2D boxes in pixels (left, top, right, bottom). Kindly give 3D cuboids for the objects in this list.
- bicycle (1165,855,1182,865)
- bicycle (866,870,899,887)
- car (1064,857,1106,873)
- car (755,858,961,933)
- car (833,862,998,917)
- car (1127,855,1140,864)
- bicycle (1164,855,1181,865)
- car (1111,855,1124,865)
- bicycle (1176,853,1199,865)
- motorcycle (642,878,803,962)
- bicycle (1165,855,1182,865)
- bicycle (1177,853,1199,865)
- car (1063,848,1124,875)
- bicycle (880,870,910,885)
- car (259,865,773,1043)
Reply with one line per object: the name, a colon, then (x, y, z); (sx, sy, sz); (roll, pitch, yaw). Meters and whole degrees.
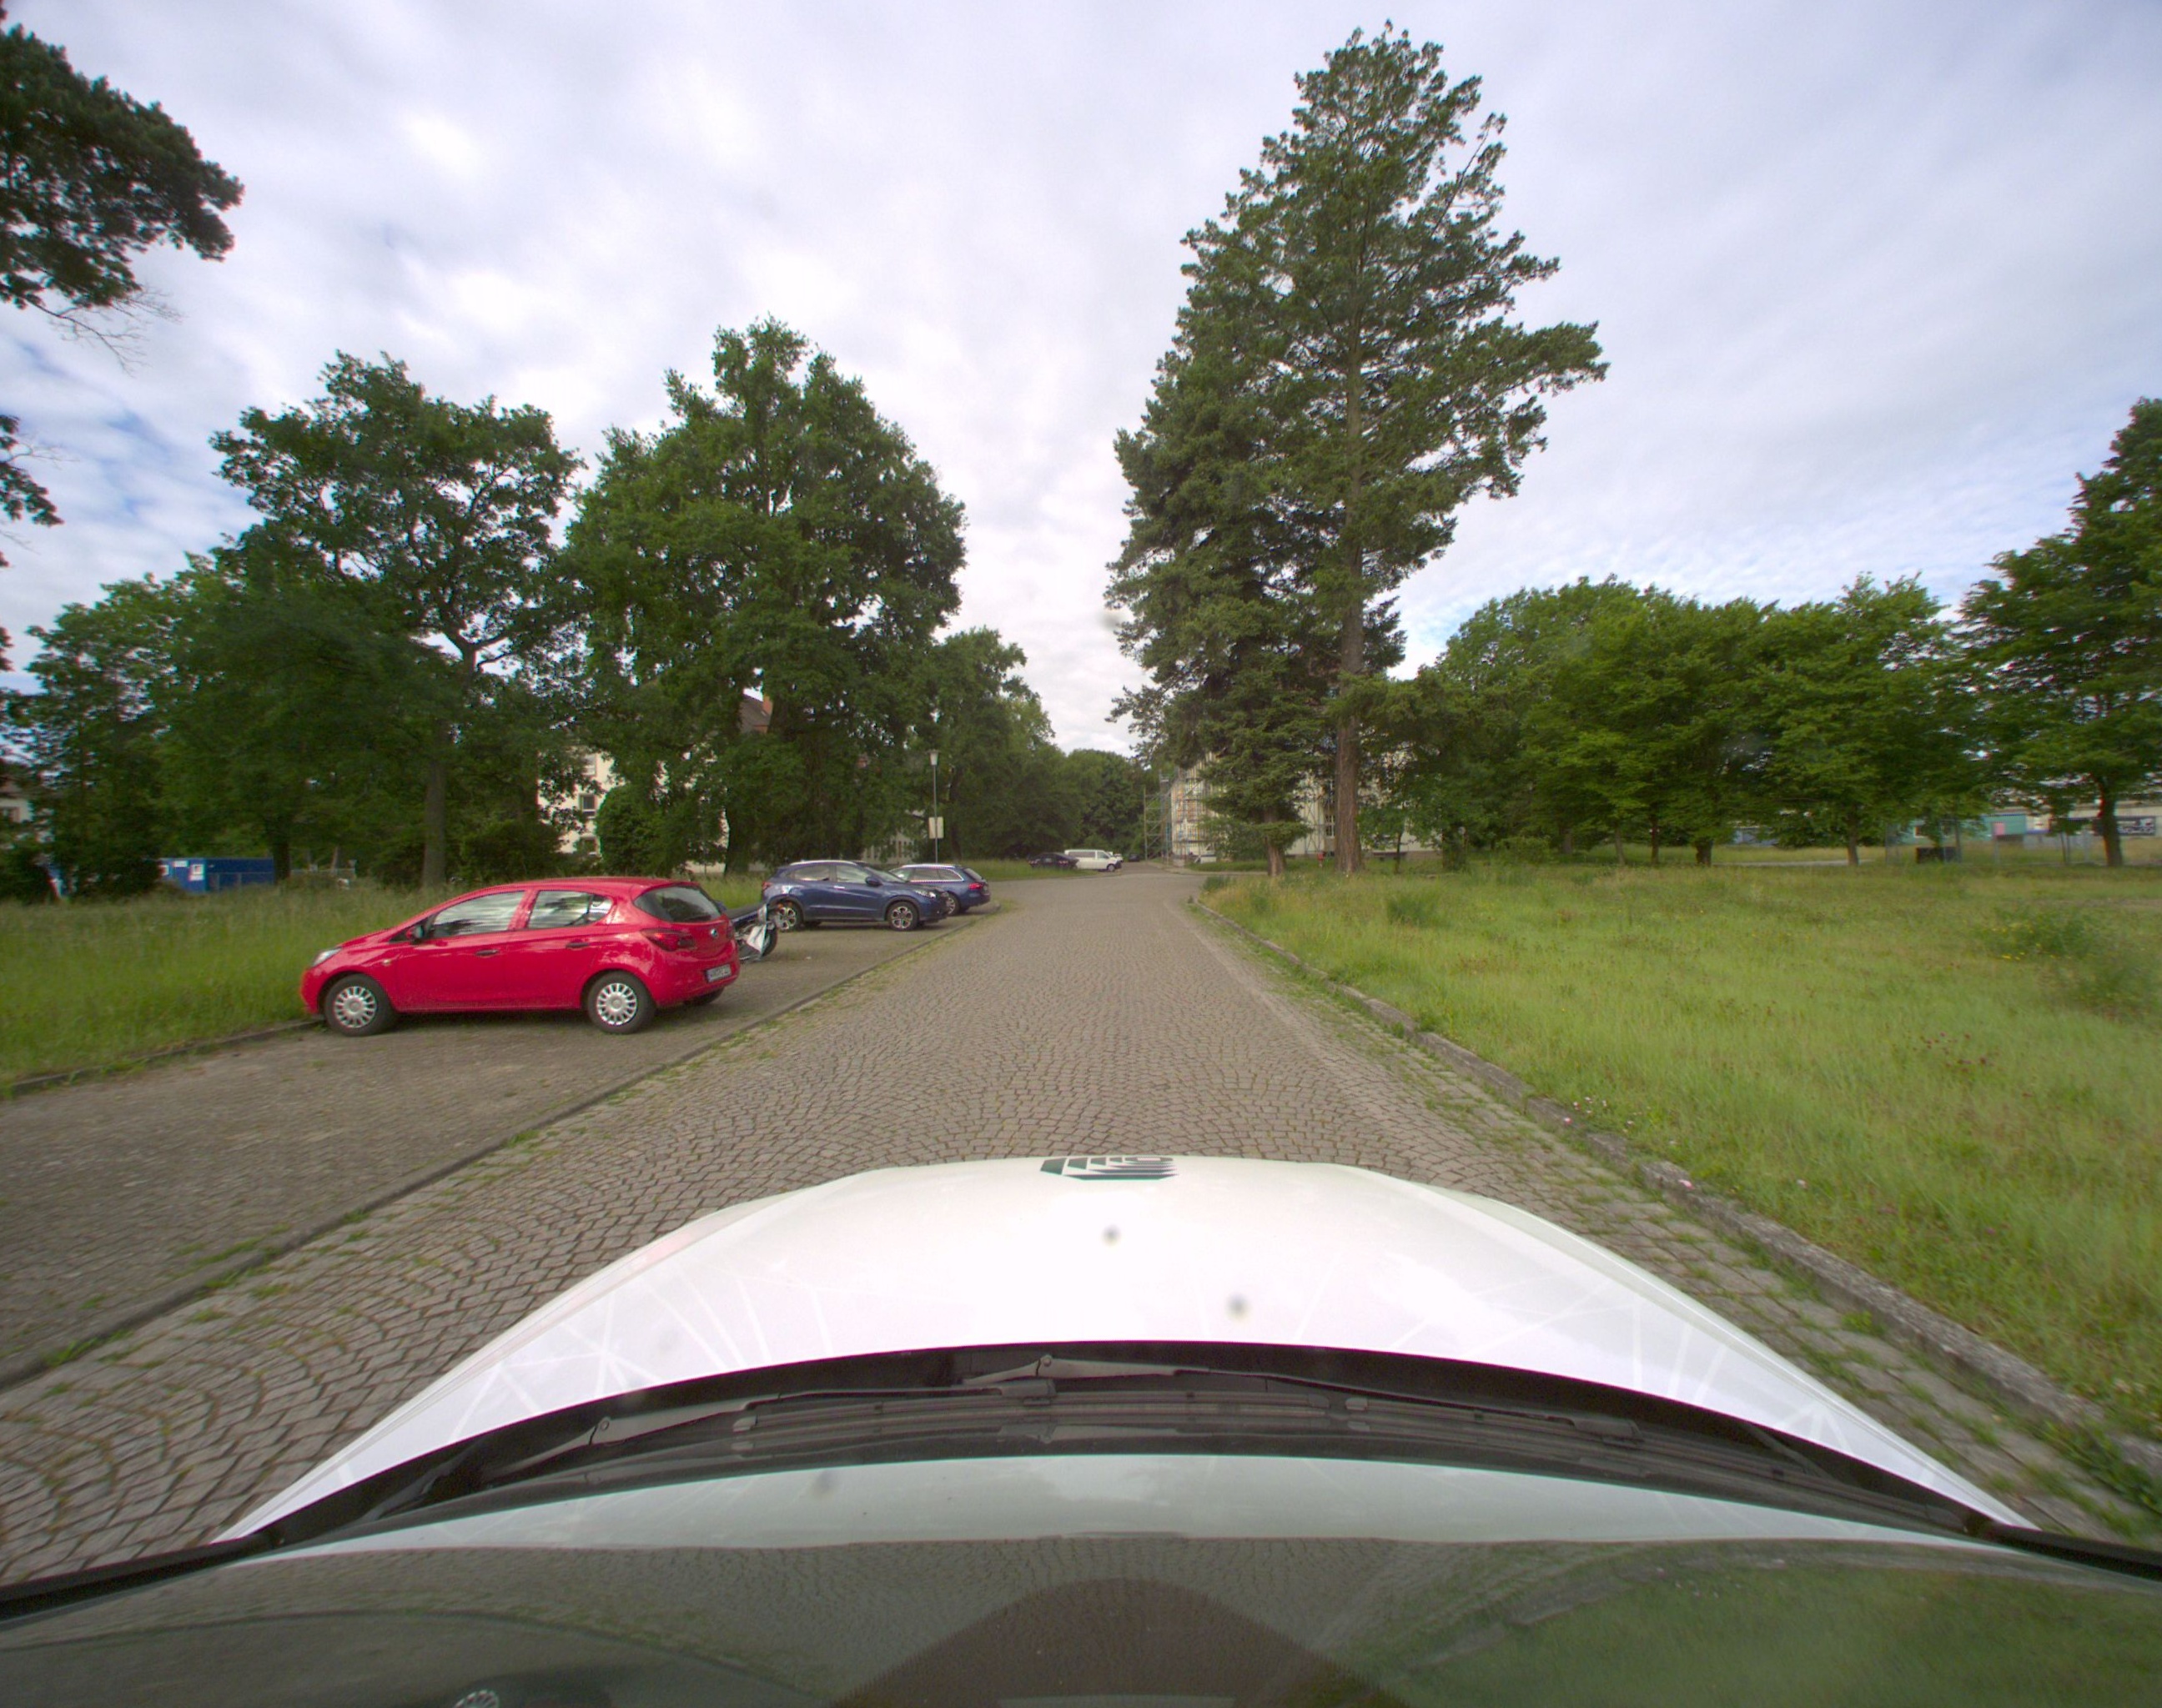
bicycle: (12.446, 0.801, 109.899); (2.230, 1.254, 0.699); (-2, -1, 4)
bicycle: (-12.937, 1.596, 53.052); (1.964, 0.989, 0.622); (-2, -1, -21)
car: (0.362, 1.018, 74.885); (3.777, 1.395, 1.999); (-2, 0, -1)
car: (-5.040, 0.916, 18.846); (4.213, 1.577, 1.887); (-1, 0, 0)
car: (-4.691, 0.988, 23.570); (4.284, 1.461, 1.977); (-1, 0, 3)
car: (8.850, 0.890, 138.398); (1.944, 1.522, 4.000); (-2, 0, 1)
bicycle: (12.487, 0.810, 110.743); (2.230, 1.254, 0.635); (-2, -1, 4)
car: (6.172, 0.981, 138.179); (2.111, 1.522, 4.001); (-2, 0, 1)
bicycle: (11.111, 0.527, 84.950); (2.230, 1.254, 0.778); (-2, -1, 4)
motorcycle: (-5.739, 1.047, 13.097); (2.265, 1.291, 0.719); (0, 0, 2)
bicycle: (12.363, 0.787, 108.472); (2.230, 1.254, 0.627); (-2, -1, 4)
bicycle: (11.400, 0.541, 86.855); (2.230, 1.254, 0.778); (-2, -1, 4)
car: (1.105, 0.674, 72.270); (5.218, 2.168, 2.000); (-2, 0, -1)
bicycle: (-13.050, 1.651, 57.123); (1.957, 0.989, 0.625); (-2, -1, -9)
car: (-5.681, 0.950, 8.615); (4.041, 1.525, 1.905); (-2, 0, 0)
